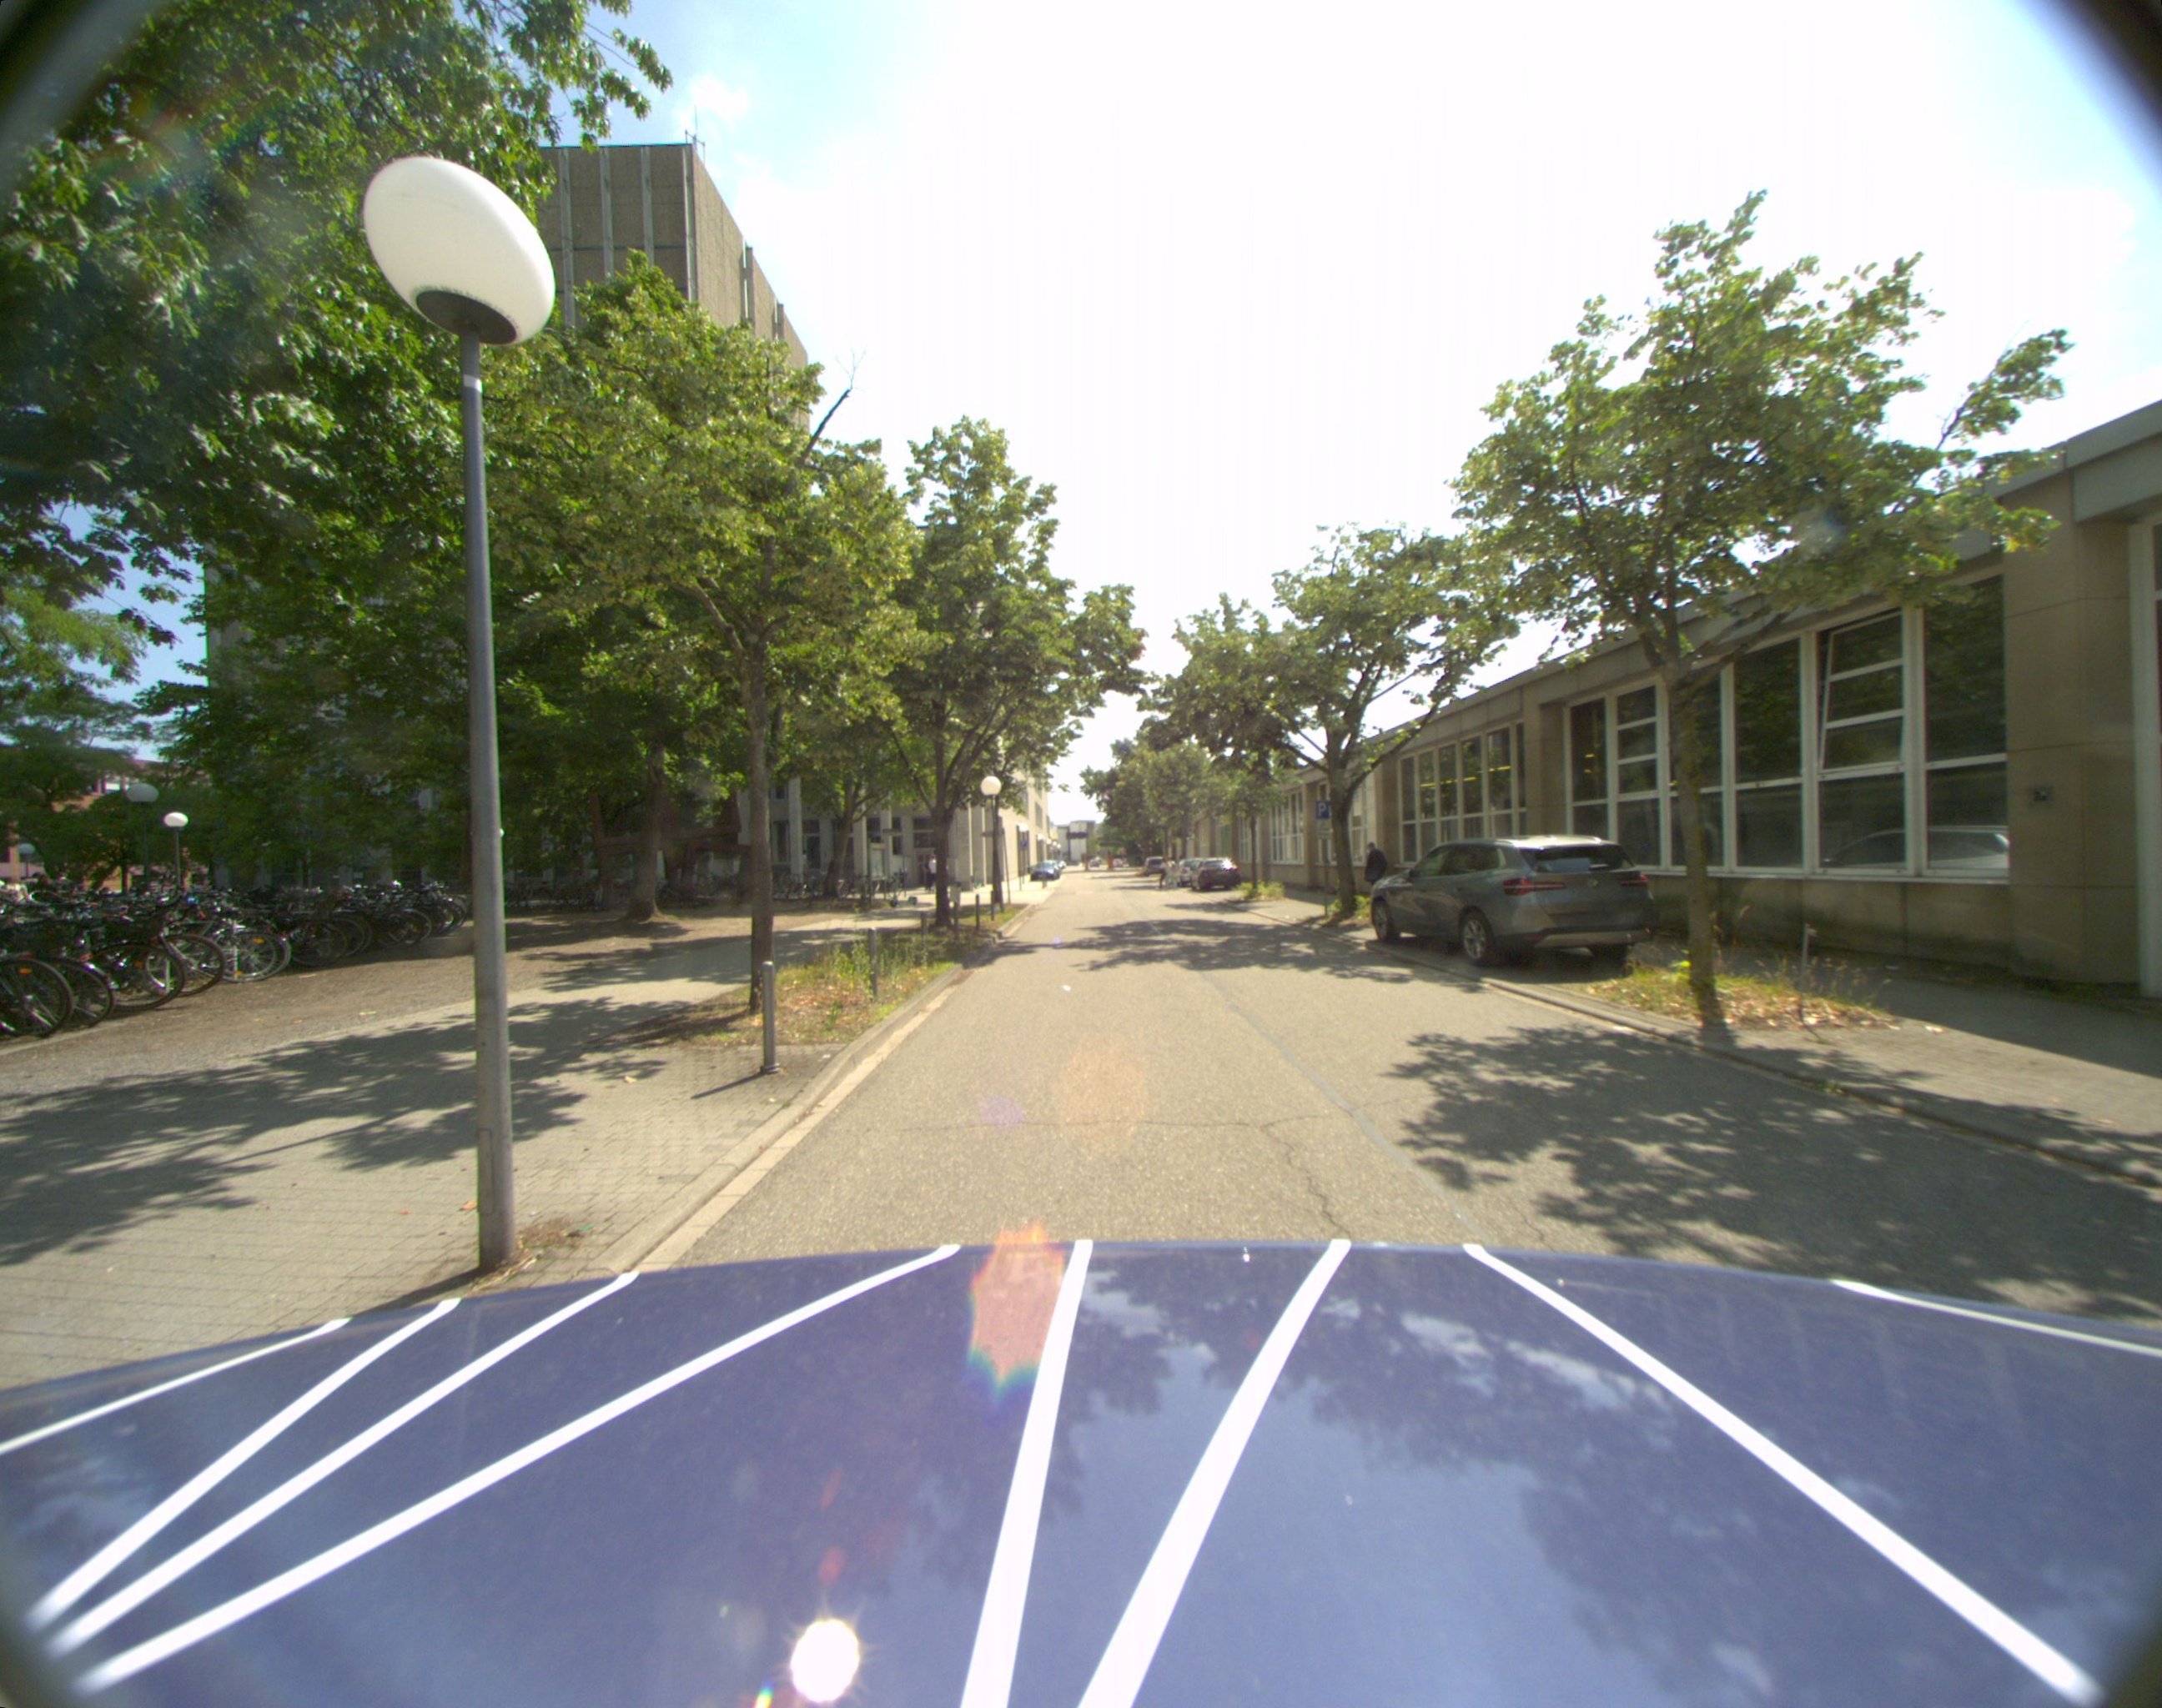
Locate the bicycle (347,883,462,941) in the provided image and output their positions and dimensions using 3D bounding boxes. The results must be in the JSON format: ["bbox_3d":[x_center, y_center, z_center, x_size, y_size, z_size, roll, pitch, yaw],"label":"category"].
[{"bbox_3d":[-14.918,1.258,16.815,1.848,1.163,0.344,-1,0,-33],"label":"bicycle"}]

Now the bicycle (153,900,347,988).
[{"bbox_3d":[-11.426,1.201,10.532,1.742,1.046,0.493,-1,0,-36],"label":"bicycle"}]

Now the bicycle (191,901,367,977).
[{"bbox_3d":[-12.230,1.270,11.654,1.796,1.022,0.381,-1,0,-31],"label":"bicycle"}]

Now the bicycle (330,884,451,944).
[{"bbox_3d":[-14.621,1.248,16.144,1.848,1.163,0.401,-1,0,-33],"label":"bicycle"}]

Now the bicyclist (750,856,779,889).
[{"bbox_3d":[-14.968,0.868,35.983,0.958,1.533,0.839,0,-2,6],"label":"bicyclist"}]

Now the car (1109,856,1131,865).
[{"bbox_3d":[6.744,1.140,132.273,3.674,1.440,1.804,-4,0,-1],"label":"car"}]

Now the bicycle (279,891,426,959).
[{"bbox_3d":[-12.759,1.222,13.371,1.796,1.063,0.425,-1,0,-30],"label":"bicycle"}]

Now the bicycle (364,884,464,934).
[{"bbox_3d":[-16.869,1.362,19.267,1.848,1.163,0.352,-1,0,-36],"label":"bicycle"}]

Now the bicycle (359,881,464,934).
[{"bbox_3d":[-15.975,1.262,18.177,1.849,1.163,0.344,-1,0,-37],"label":"bicycle"}]

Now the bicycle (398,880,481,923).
[{"bbox_3d":[-18.964,1.392,22.504,1.849,1.163,0.412,-1,0,-38],"label":"bicycle"}]

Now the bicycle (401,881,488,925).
[{"bbox_3d":[-17.941,1.365,21.460,1.848,1.163,0.352,-1,0,-36],"label":"bicycle"}]

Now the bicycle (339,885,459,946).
[{"bbox_3d":[-14.069,1.245,15.727,1.796,1.163,0.401,-1,0,-33],"label":"bicycle"}]

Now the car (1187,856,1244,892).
[{"bbox_3d":[6.043,0.882,34.533,1.729,1.426,4.290,-3,-1,0],"label":"car"}]

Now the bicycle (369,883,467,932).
[{"bbox_3d":[-17.056,1.362,19.593,1.848,1.163,0.352,-1,0,-36],"label":"bicycle"}]

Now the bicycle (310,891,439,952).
[{"bbox_3d":[-13.778,1.292,14.884,1.796,1.063,0.425,-1,0,-35],"label":"bicycle"}]

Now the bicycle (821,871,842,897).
[{"bbox_3d":[-10.525,1.258,32.082,0.460,1.079,1.440,0,-2,-2],"label":"bicycle"}]

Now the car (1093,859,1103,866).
[{"bbox_3d":[3.377,1.693,152.528,1.803,1.440,3.676,-4,0,0],"label":"car"}]

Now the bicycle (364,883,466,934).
[{"bbox_3d":[-16.373,1.320,18.733,1.848,1.163,0.344,-1,0,-36],"label":"bicycle"}]

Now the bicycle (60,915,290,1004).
[{"bbox_3d":[-11.036,1.262,9.338,1.741,0.904,0.493,-1,0,-29],"label":"bicycle"}]

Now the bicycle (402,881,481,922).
[{"bbox_3d":[-19.808,1.464,23.583,1.849,1.163,0.412,-1,0,-38],"label":"bicycle"}]

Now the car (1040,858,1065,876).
[{"bbox_3d":[-2.358,1.087,63.451,1.843,1.389,3.878,0,-1,1],"label":"car"}]

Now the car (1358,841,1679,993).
[{"bbox_3d":[5.819,0.714,10.926,1.826,1.623,4.516,-3,0,-2],"label":"car"}]

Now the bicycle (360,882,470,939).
[{"bbox_3d":[-15.125,1.261,17.298,0.344,1.163,1.849,-1,0,43],"label":"bicycle"}]

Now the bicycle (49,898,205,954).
[{"bbox_3d":[-18.819,1.402,15.044,1.907,0.973,0.378,0,0,-30],"label":"bicycle"}]

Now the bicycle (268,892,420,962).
[{"bbox_3d":[-12.539,1.221,12.990,1.796,1.063,0.425,-1,0,-30],"label":"bicycle"}]

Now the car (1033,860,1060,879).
[{"bbox_3d":[-2.612,1.202,57.908,1.843,1.389,3.878,0,-1,1],"label":"car"}]

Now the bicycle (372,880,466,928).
[{"bbox_3d":[-17.560,1.305,20.205,1.848,1.163,0.352,-1,0,-36],"label":"bicycle"}]

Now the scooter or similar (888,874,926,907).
[{"bbox_3d":[-5.874,1.221,25.716,0.496,1.107,1.365,-1,-1,25],"label":"scooter or similar"}]

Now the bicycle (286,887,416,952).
[{"bbox_3d":[-14.382,1.271,15.035,1.796,1.163,0.401,-1,0,-33],"label":"bicycle"}]

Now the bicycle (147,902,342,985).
[{"bbox_3d":[-11.841,1.237,10.830,1.800,1.022,0.439,-1,0,-31],"label":"bicycle"}]

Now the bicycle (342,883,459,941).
[{"bbox_3d":[-14.741,1.234,16.510,1.848,1.163,0.344,-1,0,-33],"label":"bicycle"}]

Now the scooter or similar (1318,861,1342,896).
[{"bbox_3d":[8.866,0.854,27.084,0.383,1.200,1.246,-4,-1,-1],"label":"scooter or similar"}]

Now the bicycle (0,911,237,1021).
[{"bbox_3d":[-10.633,1.202,8.304,1.916,1.053,0.325,-1,0,-23],"label":"bicycle"}]

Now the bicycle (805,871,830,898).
[{"bbox_3d":[-11.002,1.257,31.720,0.460,1.079,1.474,0,-2,2],"label":"bicycle"}]

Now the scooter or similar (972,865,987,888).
[{"bbox_3d":[-5.564,1.231,41.692,0.564,1.204,1.510,1,0,0],"label":"scooter or similar"}]

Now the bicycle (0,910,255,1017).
[{"bbox_3d":[-10.740,1.204,8.595,1.916,1.053,0.325,-1,0,-23],"label":"bicycle"}]

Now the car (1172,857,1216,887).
[{"bbox_3d":[5.925,0.917,40.202,1.634,1.440,3.752,-4,0,0],"label":"car"}]

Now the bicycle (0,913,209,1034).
[{"bbox_3d":[-9.916,1.154,7.439,1.950,1.076,0.404,-1,0,-11],"label":"bicycle"}]

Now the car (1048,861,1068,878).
[{"bbox_3d":[-2.309,1.615,78.065,1.799,1.691,4.001,1,-1,1],"label":"car"}]

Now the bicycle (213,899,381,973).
[{"bbox_3d":[-12.329,1.261,12.012,1.796,1.022,0.381,-1,0,-31],"label":"bicycle"}]

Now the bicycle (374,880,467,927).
[{"bbox_3d":[-17.772,1.305,20.493,1.848,1.163,0.352,-1,0,-36],"label":"bicycle"}]

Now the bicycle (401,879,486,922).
[{"bbox_3d":[-18.495,1.332,22.092,1.849,1.163,0.387,-1,0,-38],"label":"bicycle"}]

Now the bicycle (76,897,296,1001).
[{"bbox_3d":[-11.360,1.163,9.728,1.742,1.148,0.493,-1,0,-36],"label":"bicycle"}]

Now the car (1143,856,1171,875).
[{"bbox_3d":[6.186,0.924,62.313,1.803,1.440,3.676,-4,0,0],"label":"car"}]

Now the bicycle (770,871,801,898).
[{"bbox_3d":[-12.257,1.250,31.569,0.481,1.079,1.698,0,-2,6],"label":"bicycle"}]

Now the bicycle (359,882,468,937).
[{"bbox_3d":[-15.388,1.259,17.563,0.344,1.163,1.849,-1,0,43],"label":"bicycle"}]

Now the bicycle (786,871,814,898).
[{"bbox_3d":[-11.762,1.266,31.851,0.481,1.079,1.516,0,-2,6],"label":"bicycle"}]

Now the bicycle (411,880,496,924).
[{"bbox_3d":[-18.023,1.369,21.875,1.848,1.163,0.387,-1,0,-36],"label":"bicycle"}]

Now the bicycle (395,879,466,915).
[{"bbox_3d":[-22.535,1.476,26.348,1.849,1.163,0.345,-1,0,-44],"label":"bicycle"}]

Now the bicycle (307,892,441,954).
[{"bbox_3d":[-13.357,1.284,14.412,1.796,1.063,0.425,-1,0,-28],"label":"bicycle"}]

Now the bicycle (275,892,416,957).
[{"bbox_3d":[-13.416,1.274,13.916,1.796,1.063,0.425,-1,0,-28],"label":"bicycle"}]
